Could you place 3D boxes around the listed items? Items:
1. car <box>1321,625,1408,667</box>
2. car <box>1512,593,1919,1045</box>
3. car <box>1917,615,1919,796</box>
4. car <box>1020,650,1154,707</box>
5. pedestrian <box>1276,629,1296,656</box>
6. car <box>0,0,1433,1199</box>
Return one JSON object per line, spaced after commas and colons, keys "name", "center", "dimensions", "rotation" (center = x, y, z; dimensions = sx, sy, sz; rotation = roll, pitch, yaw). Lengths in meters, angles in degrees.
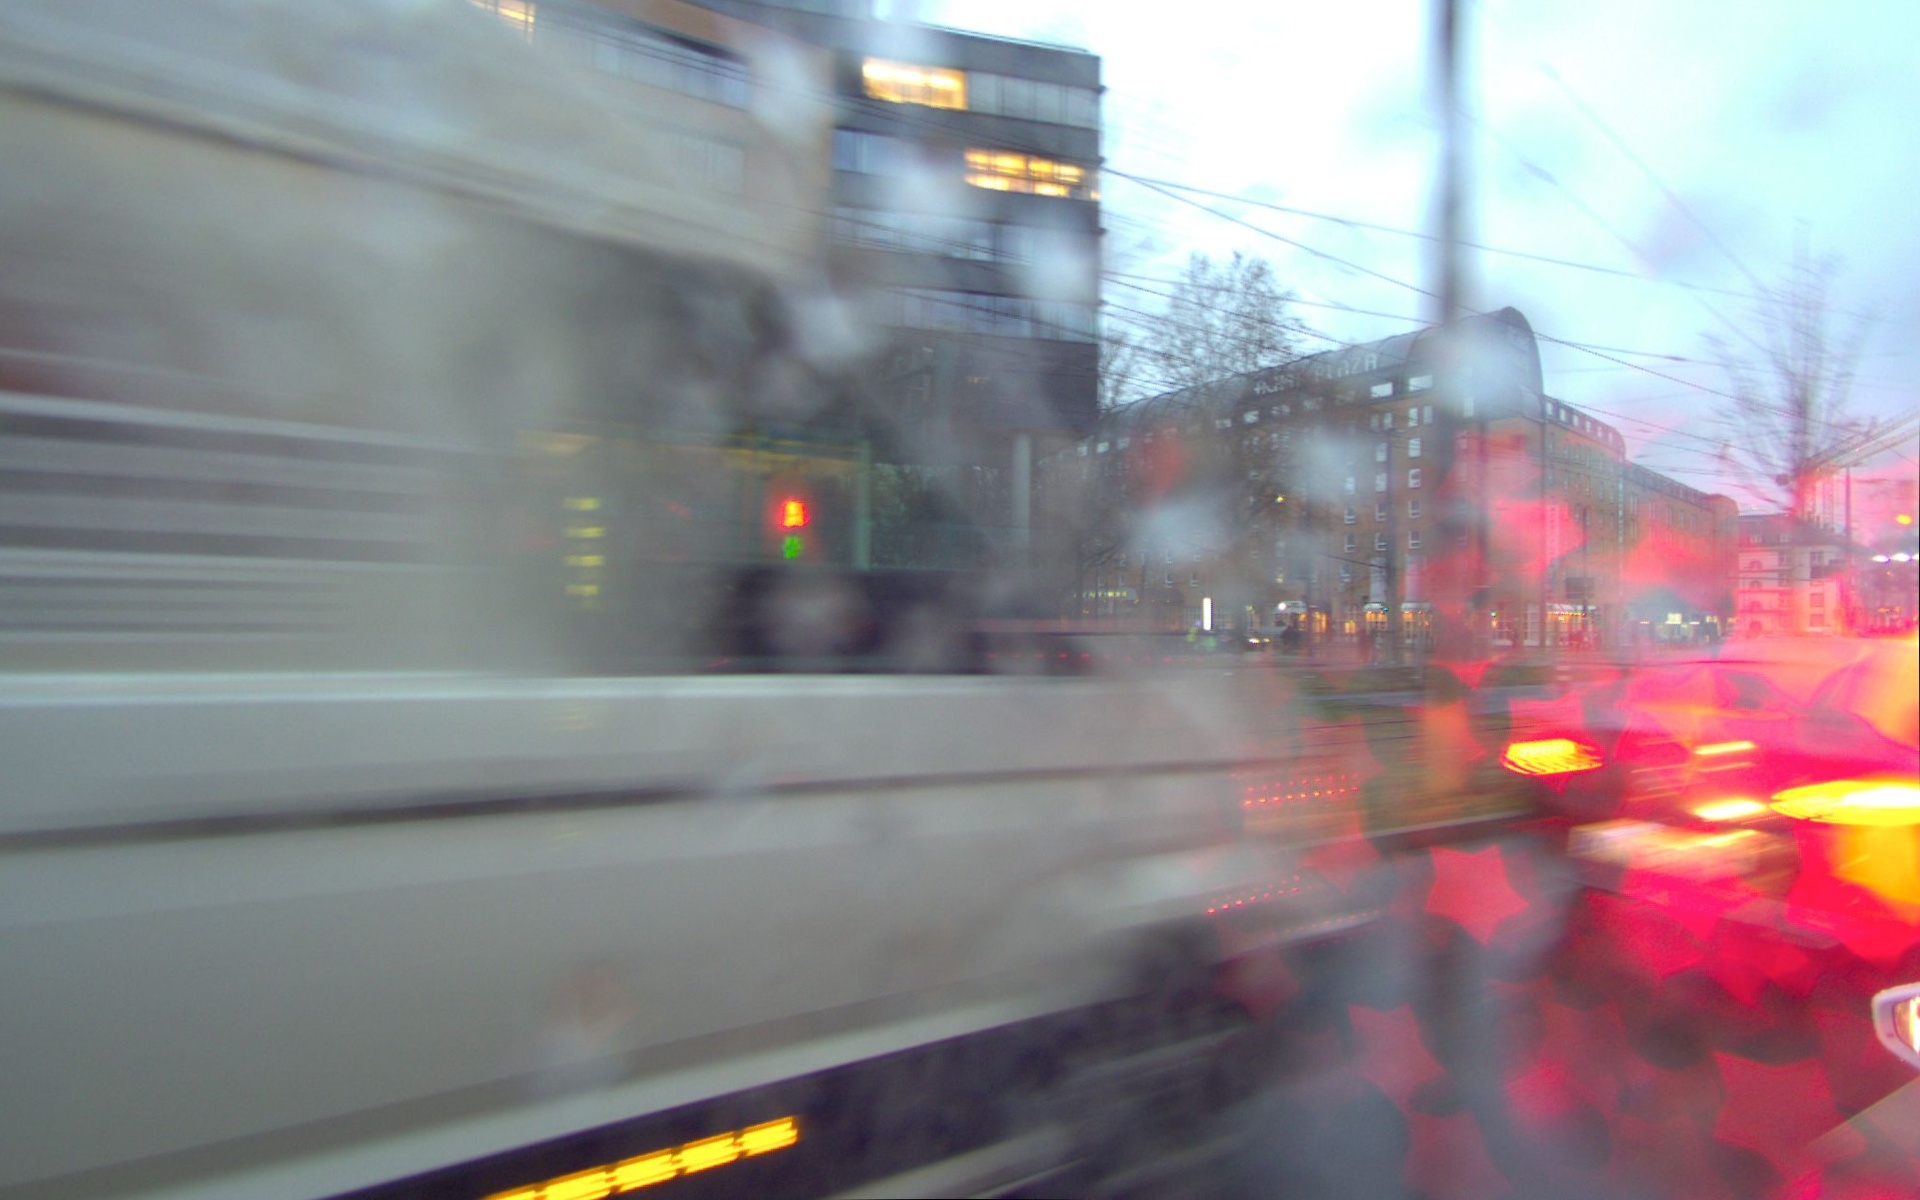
{"name": "car", "center": [17.357, 1.957, 43.097], "dimensions": [3.579, 1.714, 1.624], "rotation": [1, -1, -31]}
{"name": "car", "center": [4.365, 0.813, 4.931], "dimensions": [3.434, 1.540, 1.509], "rotation": [2, -2, -34]}
{"name": "car", "center": [10.193, 0.933, 8.877], "dimensions": [3.958, 1.528, 1.695], "rotation": [1, -1, -34]}
{"name": "car", "center": [3.659, 2.199, 28.760], "dimensions": [3.580, 1.469, 1.624], "rotation": [1, -1, -31]}
{"name": "pedestrian", "center": [20.137, 2.600, 62.035], "dimensions": [0.892, 1.646, 0.722], "rotation": [1, -1, -30]}
{"name": "car", "center": [-1.691, 0.159, 1.866], "dimensions": [5.913, 2.459, 1.981], "rotation": [1, -1, -35]}
